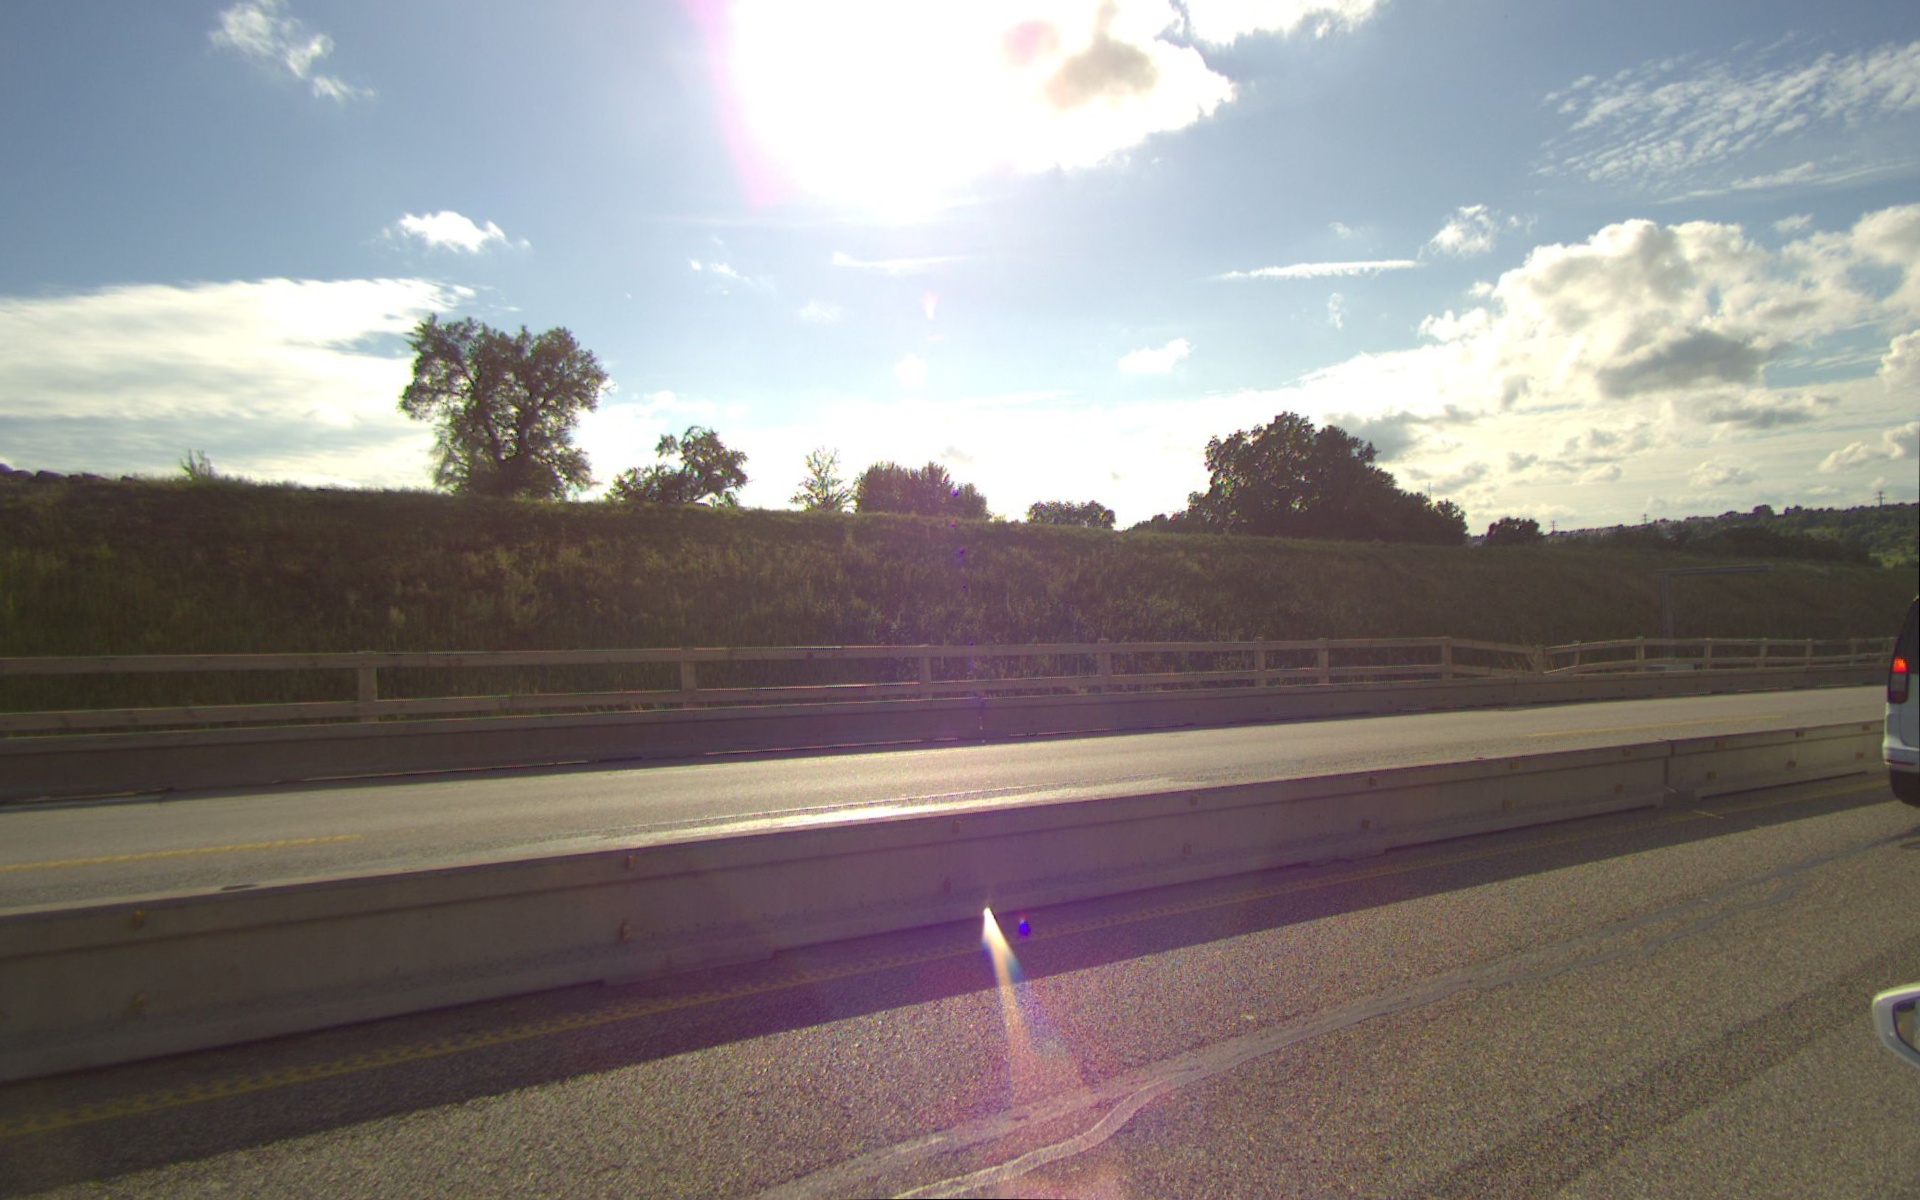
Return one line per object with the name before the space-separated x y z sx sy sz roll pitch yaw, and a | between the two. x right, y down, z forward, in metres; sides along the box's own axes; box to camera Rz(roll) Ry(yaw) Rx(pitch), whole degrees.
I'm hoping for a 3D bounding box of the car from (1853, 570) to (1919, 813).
car | 9.449 0.725 8.271 4.403 1.848 1.814 1 1 -30
